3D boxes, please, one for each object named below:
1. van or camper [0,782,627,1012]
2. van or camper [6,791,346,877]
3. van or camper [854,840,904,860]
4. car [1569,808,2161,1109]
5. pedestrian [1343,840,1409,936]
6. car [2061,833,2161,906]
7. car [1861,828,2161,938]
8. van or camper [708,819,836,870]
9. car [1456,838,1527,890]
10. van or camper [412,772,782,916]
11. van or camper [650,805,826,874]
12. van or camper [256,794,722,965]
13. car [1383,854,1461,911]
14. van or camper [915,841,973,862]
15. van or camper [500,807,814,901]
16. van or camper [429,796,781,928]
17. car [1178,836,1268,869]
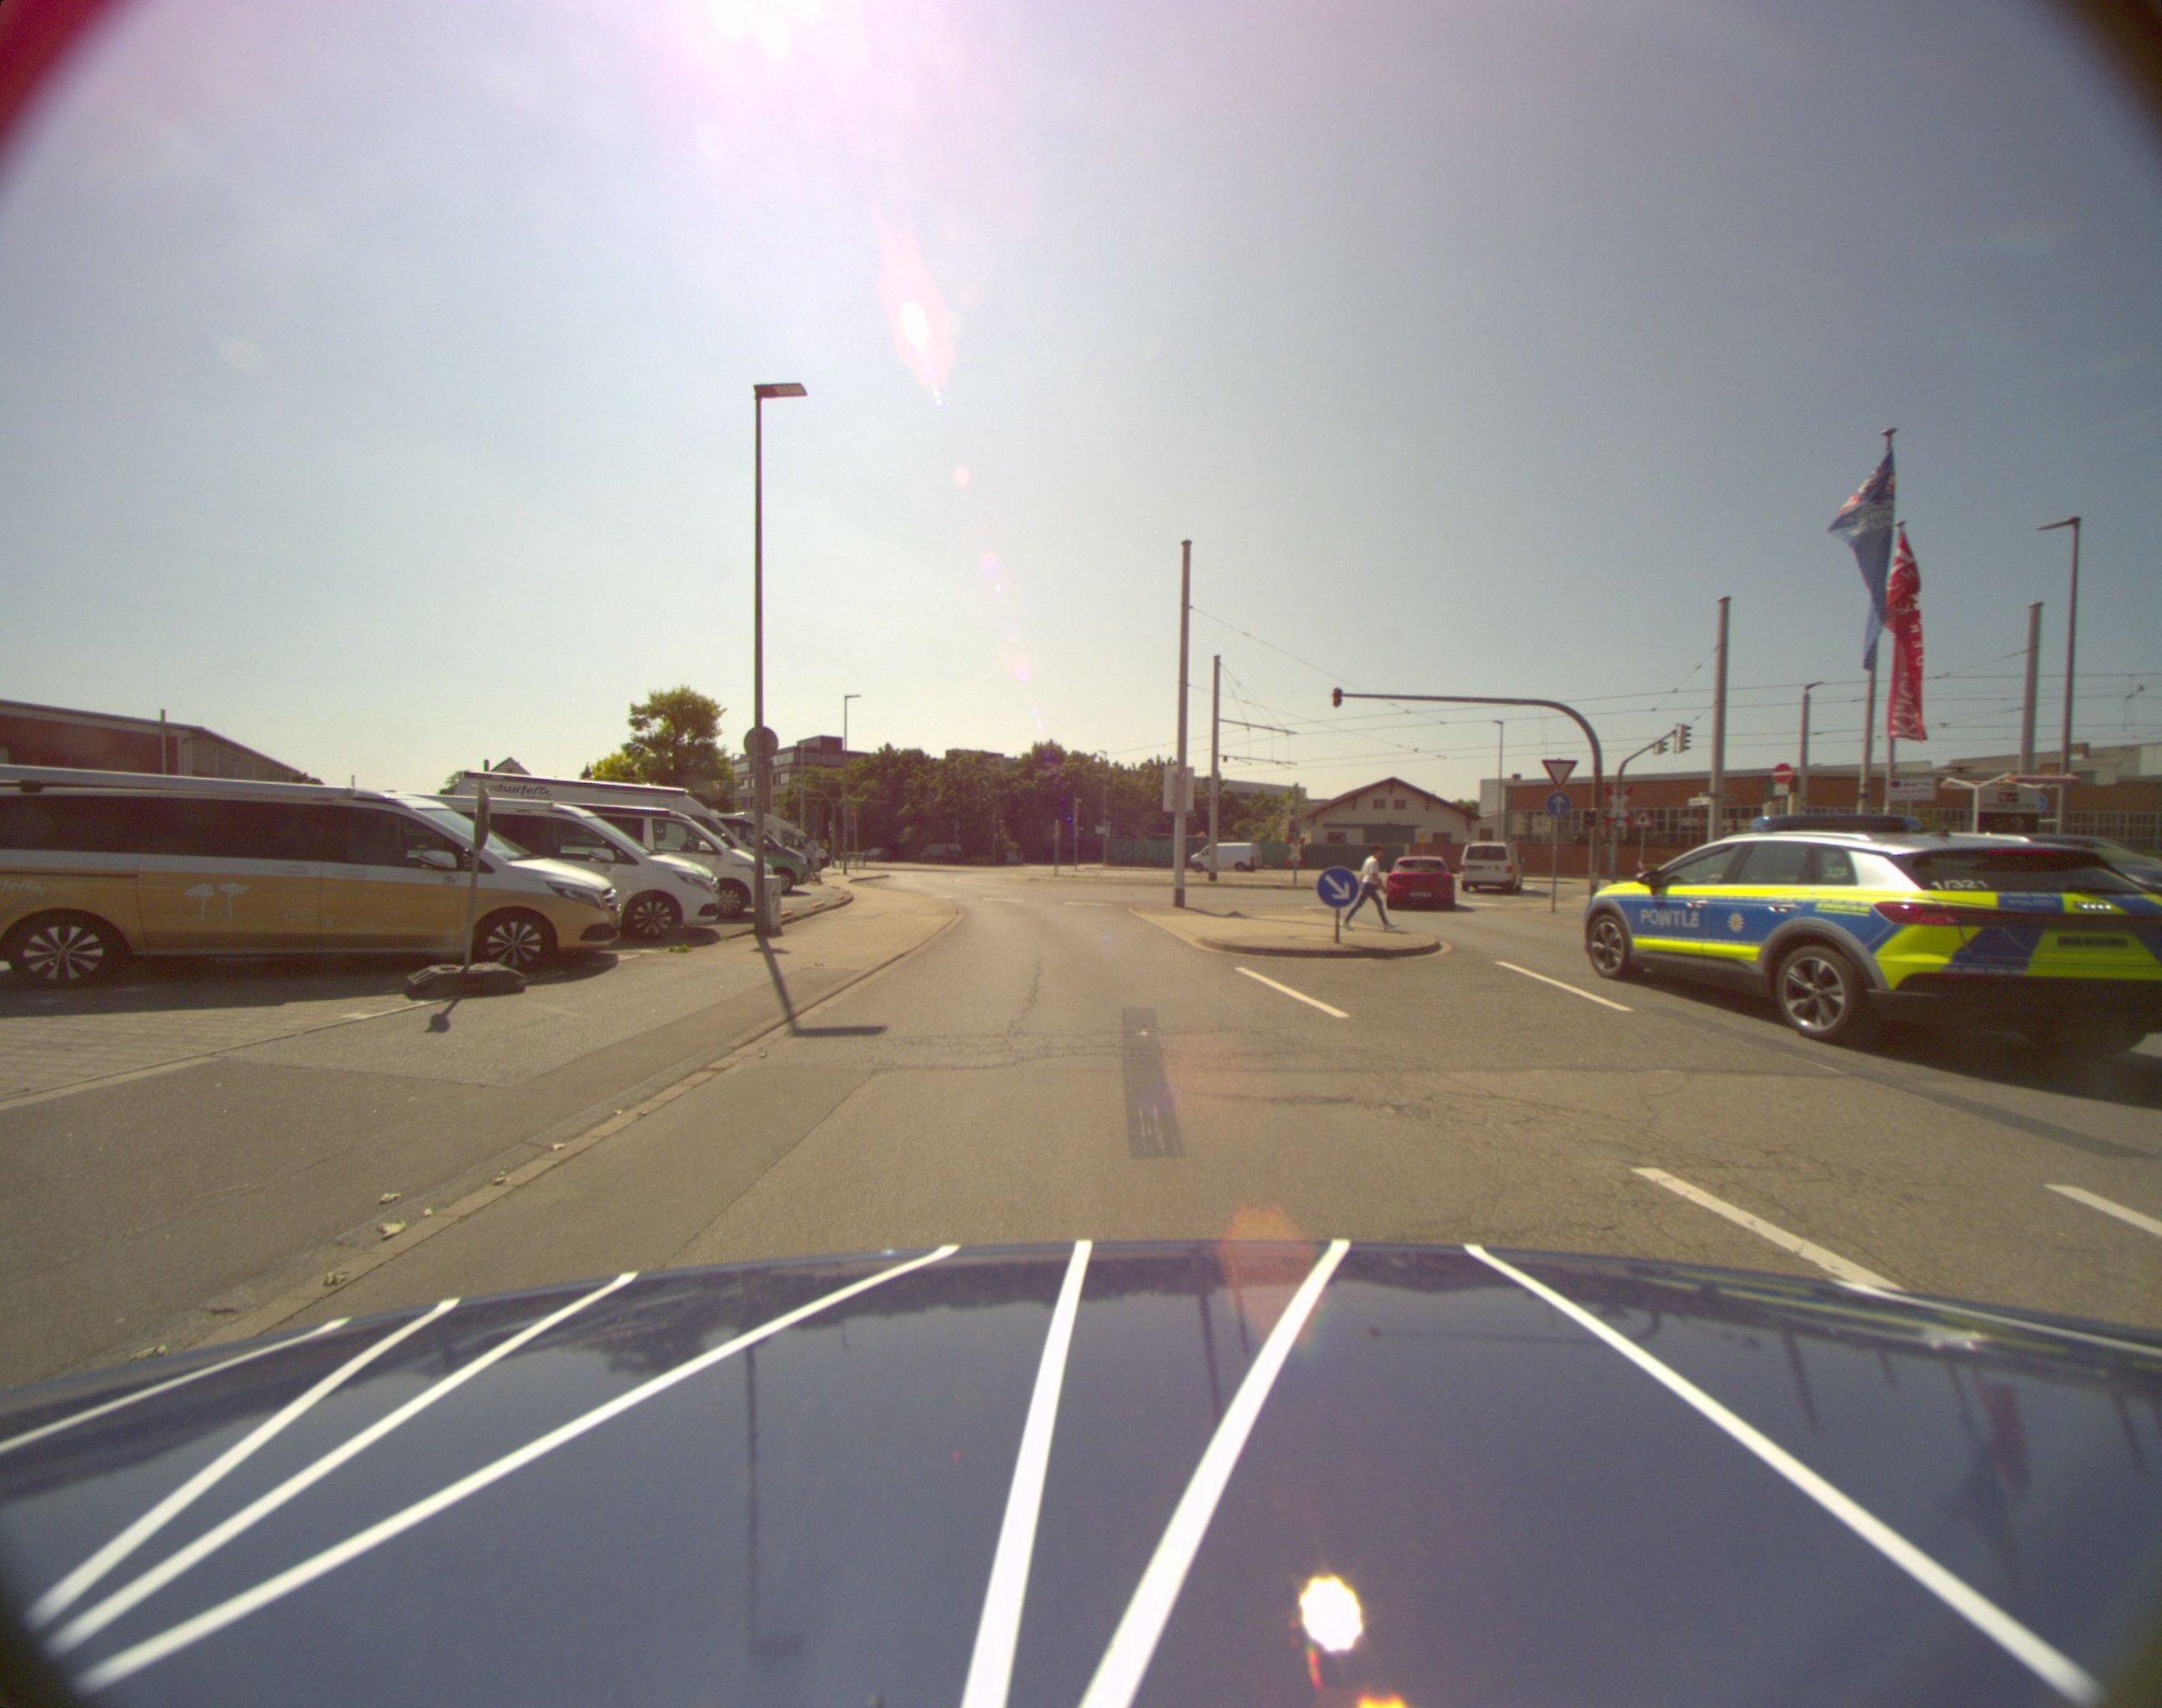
[{"bbox_3d":[-7.934,0.374,8.131,5.144,1.950,1.982,2,2,-28],"label":"van or camper"},{"bbox_3d":[-23.636,-0.460,20.321,5.430,2.027,2.287,1,1,-35],"label":"van or camper"},{"bbox_3d":[-20.690,-0.432,77.648,5.221,2.002,2.509,1,1,42],"label":"van or camper"},{"bbox_3d":[6.426,0.602,6.606,1.897,1.748,4.355,1,1,6],"label":"car"},{"bbox_3d":[5.351,0.587,13.857,0.995,1.676,0.800,1,1,14],"label":"pedestrian"},{"bbox_3d":[21.324,0.317,13.632,1.911,1.380,4.486,1,1,6],"label":"car"},{"bbox_3d":[16.579,0.414,12.954,1.911,1.564,4.819,1,1,6],"label":"car"},{"bbox_3d":[-17.086,-0.473,42.178,6.071,2.629,2.778,0,1,-37],"label":"van or camper"},{"bbox_3d":[16.812,0.384,30.981,1.991,1.935,4.446,2,1,35],"label":"car"},{"bbox_3d":[-10.171,-0.166,16.606,6.375,2.621,2.526,1,1,-33],"label":"van or camper"},{"bbox_3d":[-15.733,-0.606,35.155,6.863,2.868,2.777,0,1,-42],"label":"van or camper"},{"bbox_3d":[-8.041,0.319,11.069,4.990,2.034,2.037,1,1,-28],"label":"van or camper"},{"bbox_3d":[9.521,0.753,21.465,1.764,1.445,4.116,-2,-1,21],"label":"car"},{"bbox_3d":[-12.372,-0.249,68.363,5.280,1.817,2.509,1,1,44],"label":"van or camper"},{"bbox_3d":[-10.959,0.016,20.200,6.861,2.122,2.778,1,1,-31],"label":"van or camper"},{"bbox_3d":[-8.513,0.133,14.178,5.148,2.064,2.446,1,1,-29],"label":"van or camper"},{"bbox_3d":[9.516,-0.072,51.163,5.516,2.121,2.217,0,0,34],"label":"car"}]
